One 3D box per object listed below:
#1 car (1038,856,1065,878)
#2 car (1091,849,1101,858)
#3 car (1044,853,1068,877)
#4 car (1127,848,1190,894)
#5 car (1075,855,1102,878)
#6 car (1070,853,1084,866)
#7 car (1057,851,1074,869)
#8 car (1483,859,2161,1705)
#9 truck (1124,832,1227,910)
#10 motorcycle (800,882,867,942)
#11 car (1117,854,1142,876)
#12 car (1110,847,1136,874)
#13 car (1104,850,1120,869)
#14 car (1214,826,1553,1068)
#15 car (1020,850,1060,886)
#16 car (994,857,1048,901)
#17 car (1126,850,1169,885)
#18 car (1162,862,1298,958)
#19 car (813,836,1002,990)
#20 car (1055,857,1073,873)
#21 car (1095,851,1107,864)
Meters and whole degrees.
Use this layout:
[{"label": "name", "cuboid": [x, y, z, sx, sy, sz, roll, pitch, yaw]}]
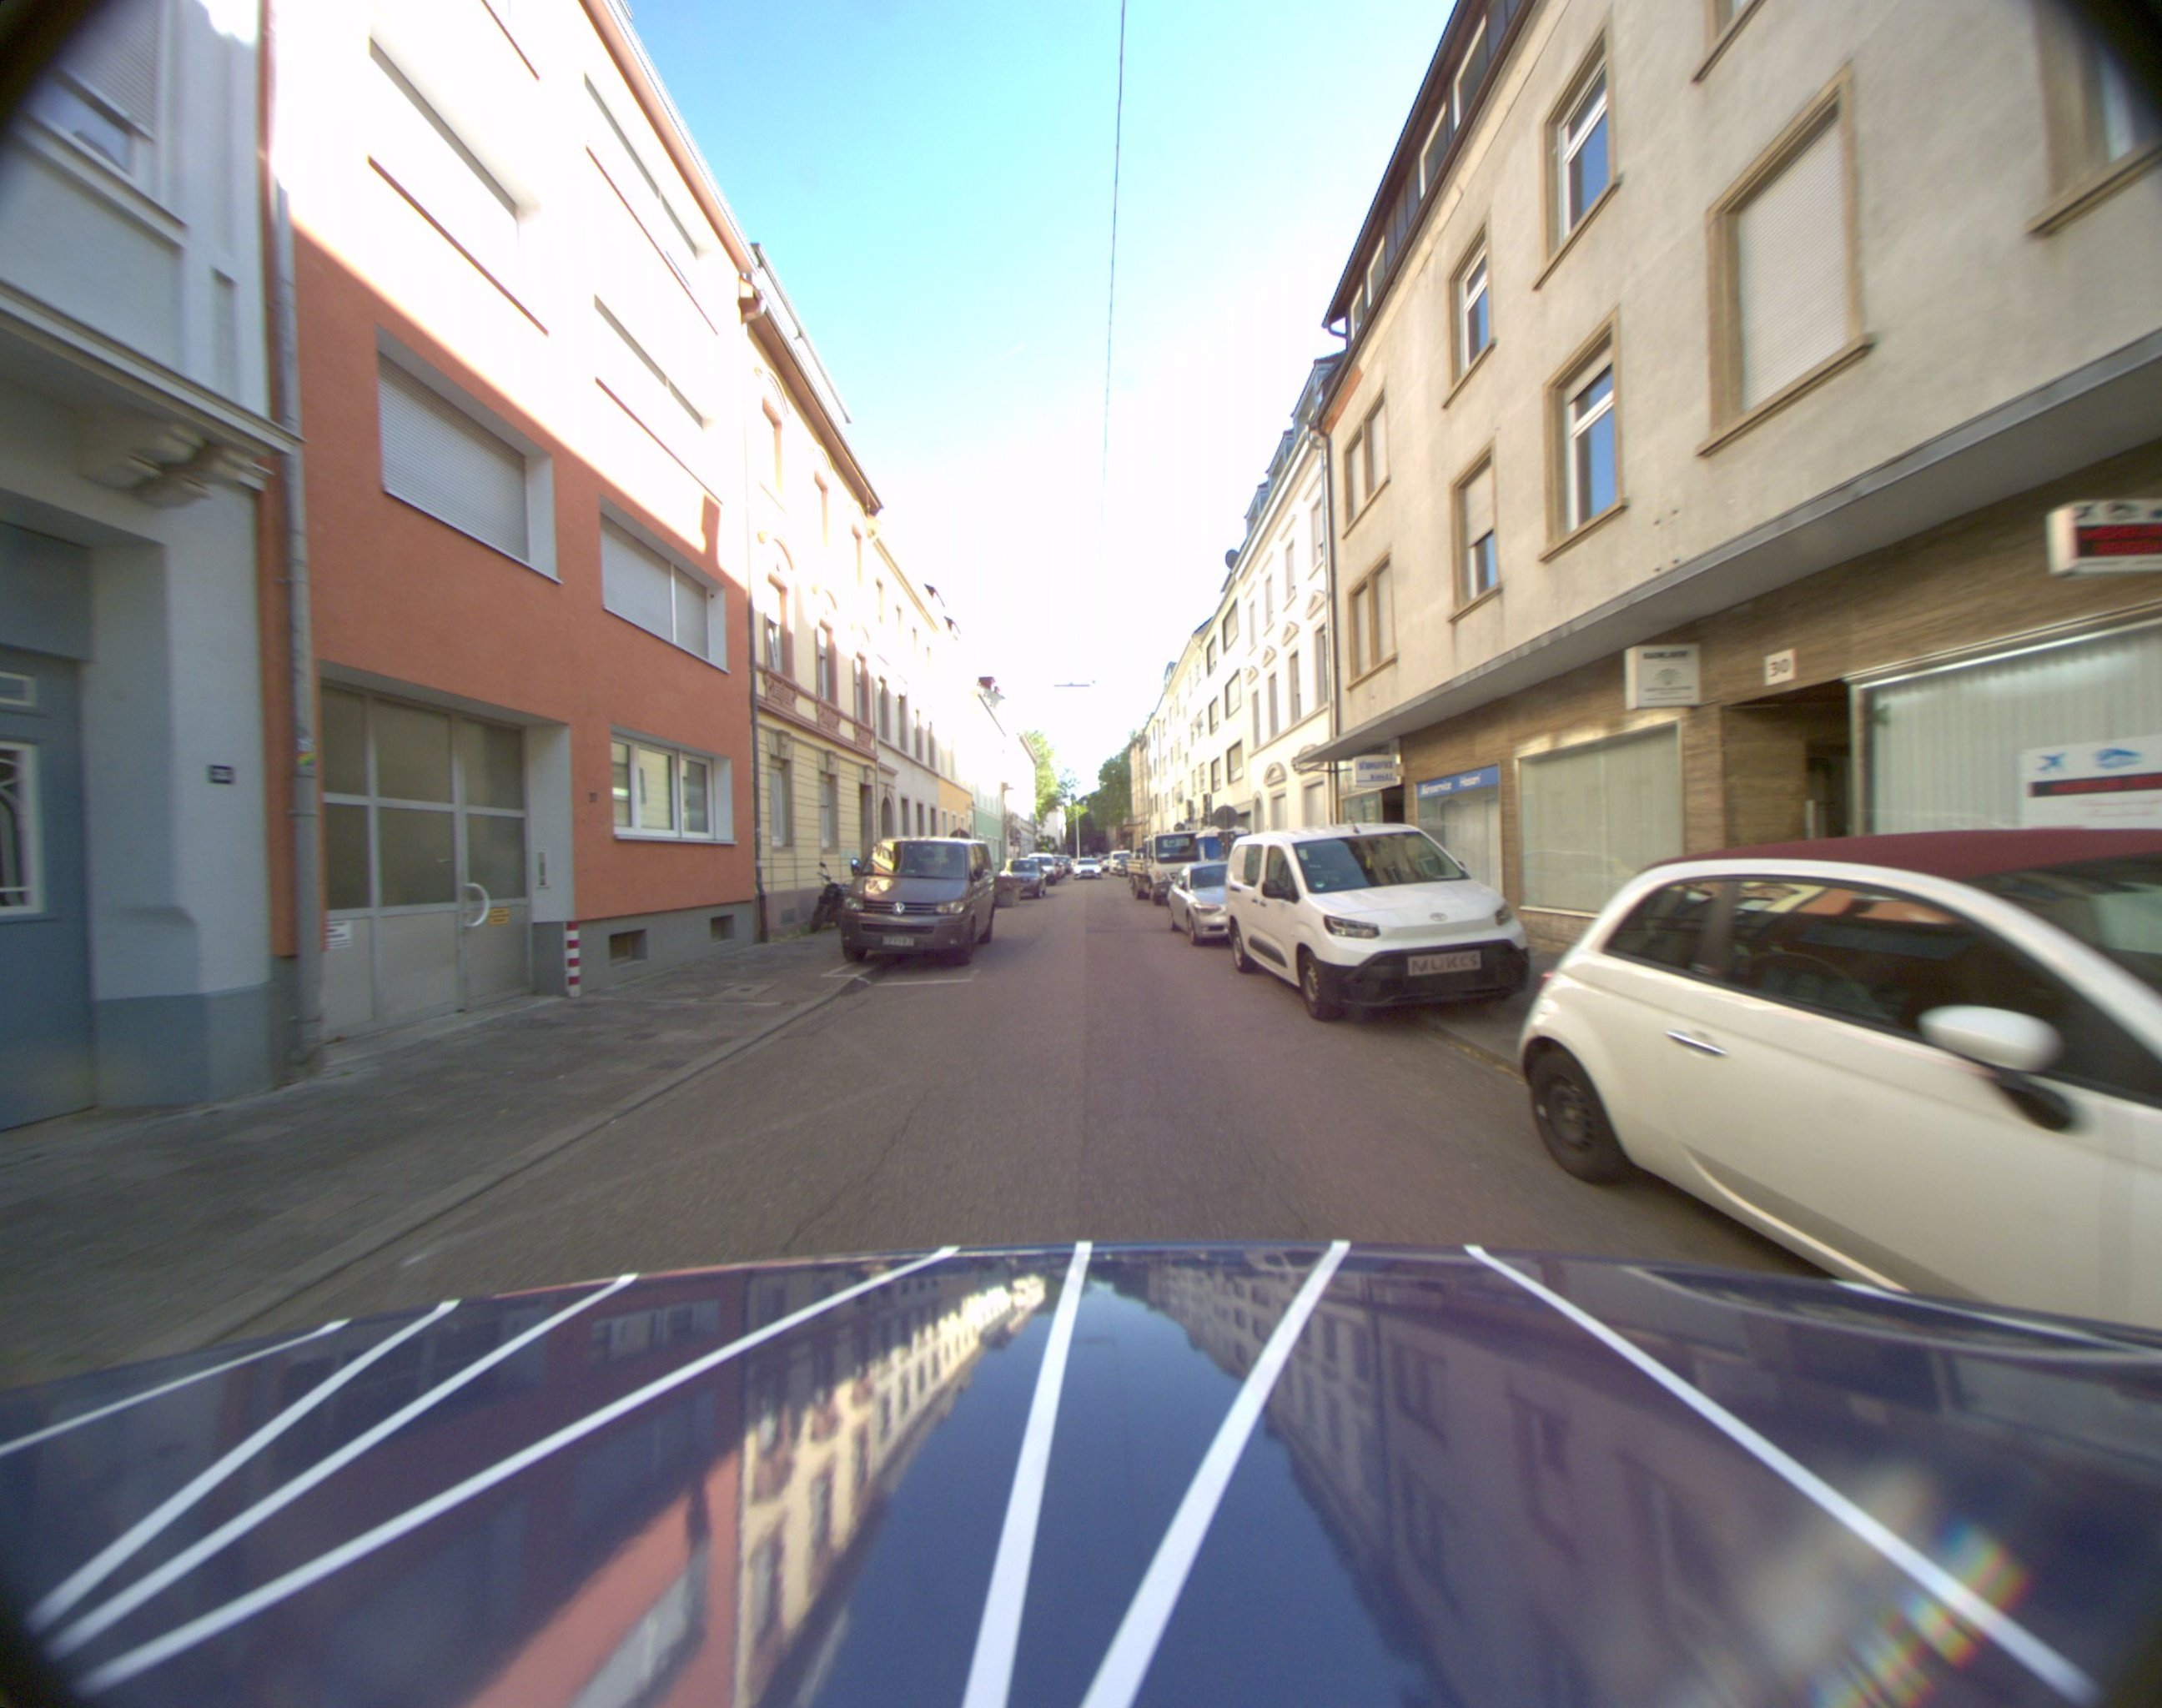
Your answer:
[{"label": "car", "cuboid": [-2.019, 0.921, 52.927, 1.578, 1.459, 3.870, -2, -1, 1]}, {"label": "car", "cuboid": [2.935, -0.161, 152.636, 1.985, 1.674, 4.021, -2, 1, 1]}, {"label": "car", "cuboid": [-1.873, 0.804, 58.623, 1.604, 1.772, 3.759, -2, 0, 1]}, {"label": "car", "cuboid": [3.350, 0.687, 33.990, 1.918, 1.871, 5.183, 0, 0, -4]}, {"label": "car", "cuboid": [0.526, 0.827, 51.354, 1.761, 1.399, 4.021, -2, 1, 1]}, {"label": "car", "cuboid": [-0.535, 0.788, 106.716, 1.857, 1.620, 4.072, -2, 1, 1]}, {"label": "car", "cuboid": [-1.726, 0.664, 85.627, 1.786, 1.867, 4.021, -2, 1, 1]}, {"label": "car", "cuboid": [2.911, 0.834, 2.115, 1.671, 1.551, 3.722, -2, 0, 2]}, {"label": "truck", "cuboid": [2.987, 0.448, 25.699, 2.171, 2.295, 6.344, 0, 1, -5]}, {"label": "motorcycle", "cuboid": [-5.146, 1.172, 15.946, 0.638, 1.038, 2.363, -2, 1, -1]}, {"label": "car", "cuboid": [3.592, 0.785, 57.087, 1.730, 1.483, 4.115, -3, 0, 2]}, {"label": "car", "cuboid": [3.468, 0.498, 63.592, 1.913, 2.076, 4.696, -2, 0, 1]}, {"label": "car", "cuboid": [3.401, 0.586, 83.291, 1.585, 1.971, 4.068, -2, 1, 1]}, {"label": "car", "cuboid": [2.782, 0.728, 8.334, 1.771, 1.887, 4.808, 0, 0, -1]}, {"label": "car", "cuboid": [-2.290, 0.759, 43.648, 1.898, 1.875, 4.457, -2, 1, 1]}, {"label": "car", "cuboid": [-2.346, 0.930, 30.540, 1.744, 1.534, 4.050, -2, 1, 1]}, {"label": "car", "cuboid": [3.643, 0.695, 42.037, 1.759, 1.759, 4.177, 0, 1, -4]}, {"label": "car", "cuboid": [2.607, 0.914, 14.339, 1.669, 1.514, 4.488, 0, 0, 0]}, {"label": "car", "cuboid": [-2.631, 0.804, 12.868, 1.975, 2.017, 4.899, -3, 0, 0]}, {"label": "car", "cuboid": [-1.636, 1.069, 74.269, 1.588, 1.409, 3.557, -2, 1, 1]}, {"label": "car", "cuboid": [2.982, 0.509, 112.942, 1.786, 1.674, 4.021, -2, 1, 1]}]
